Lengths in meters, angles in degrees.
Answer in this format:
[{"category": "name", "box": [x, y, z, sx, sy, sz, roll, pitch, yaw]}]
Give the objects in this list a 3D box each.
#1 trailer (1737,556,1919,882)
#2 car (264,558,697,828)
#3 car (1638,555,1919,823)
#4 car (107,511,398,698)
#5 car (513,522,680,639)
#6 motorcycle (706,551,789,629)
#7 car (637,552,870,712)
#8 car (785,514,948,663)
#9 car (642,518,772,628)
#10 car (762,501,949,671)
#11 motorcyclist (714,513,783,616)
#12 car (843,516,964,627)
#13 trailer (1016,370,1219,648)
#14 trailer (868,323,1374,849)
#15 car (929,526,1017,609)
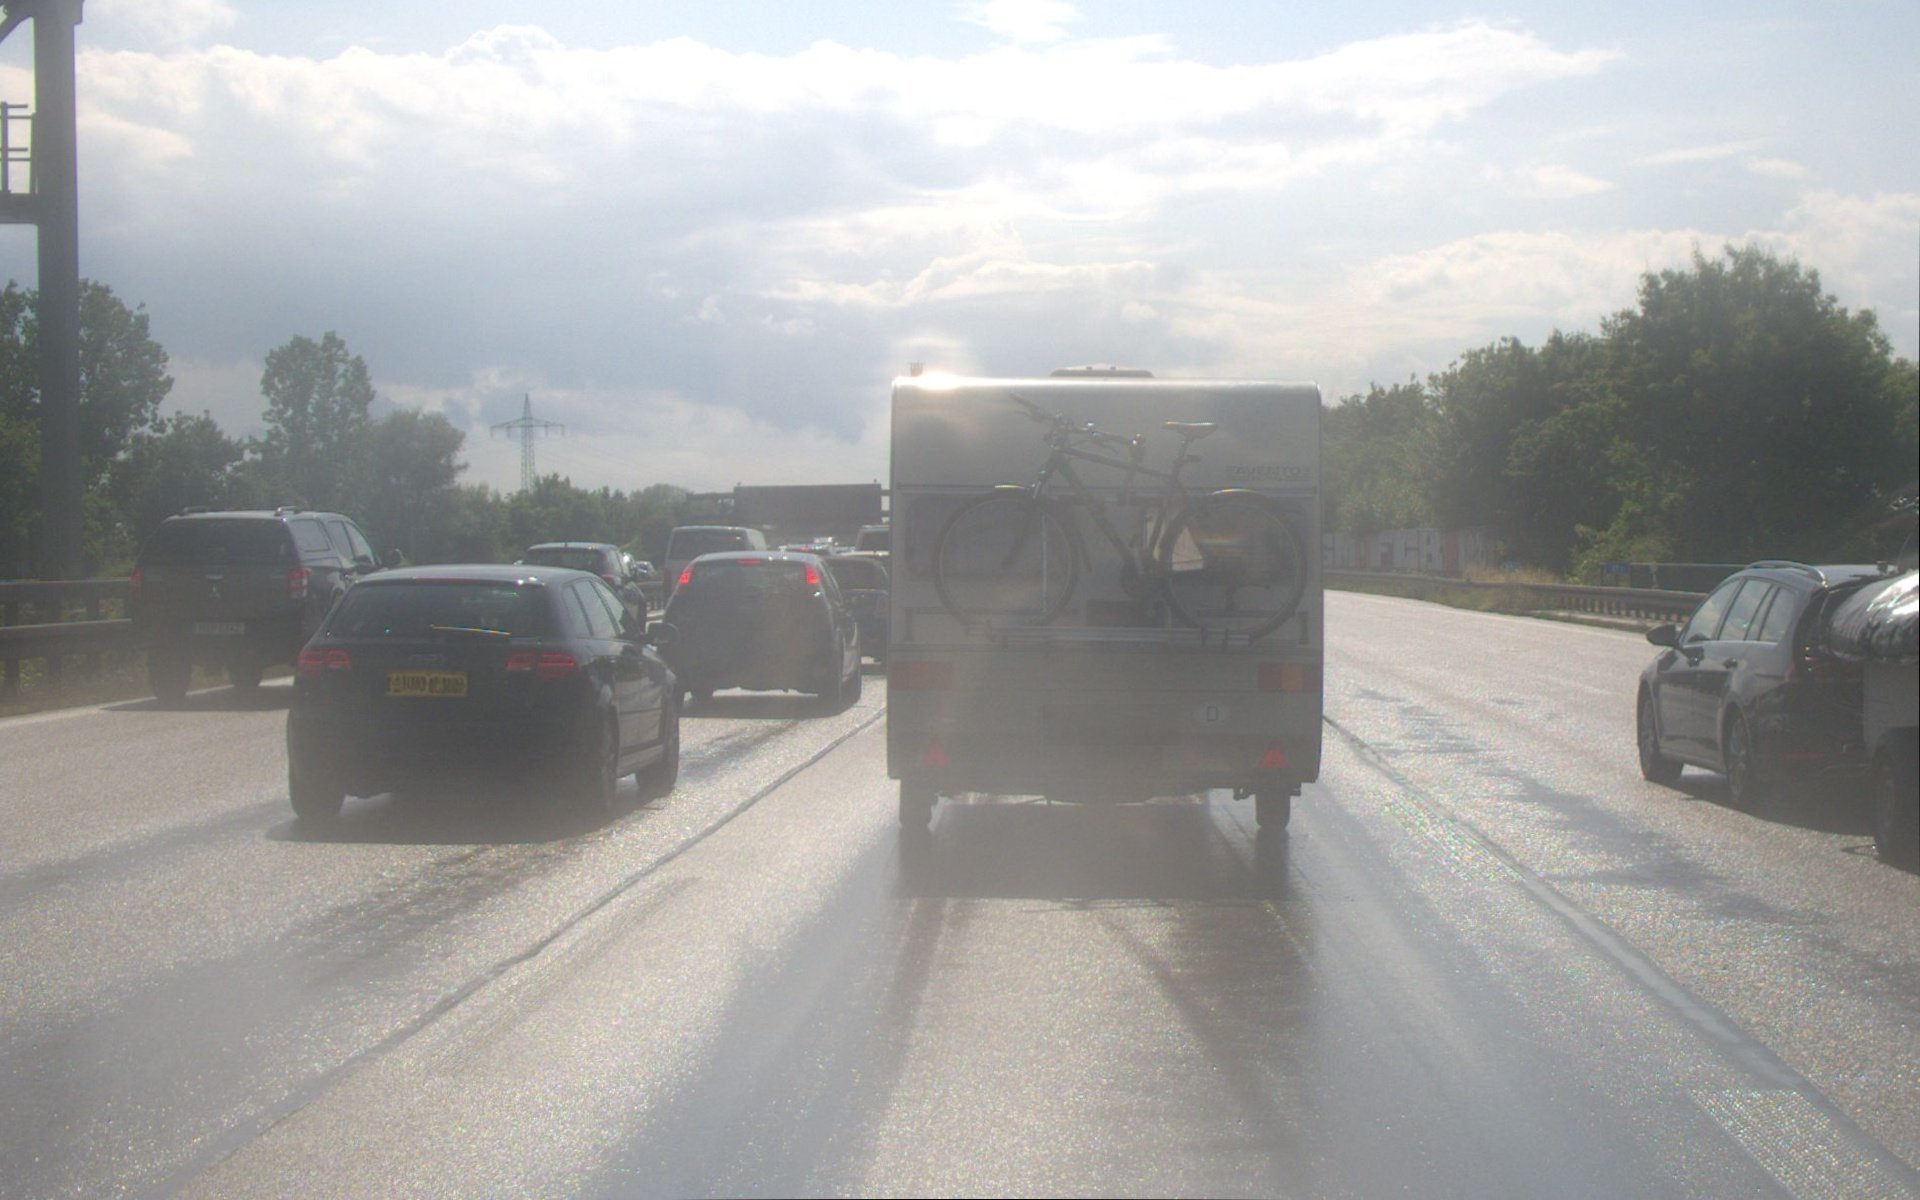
[{"category": "trailer", "box": [5.244, 0.505, 17.310, 1.855, 1.437, 4.147, 0, 1, 2]}, {"category": "car", "box": [-2.654, 0.458, 19.907, 1.757, 1.382, 3.945, 0, 1, 3]}, {"category": "car", "box": [5.371, 0.456, 20.746, 1.855, 1.437, 4.258, 0, 1, 2]}, {"category": "car", "box": [-6.950, 0.017, 34.166, 1.993, 1.714, 4.000, 1, 1, 1]}, {"category": "car", "box": [-5.646, -0.318, 53.847, 1.994, 1.766, 4.000, 0, 1, 3]}, {"category": "motorcycle", "box": [-3.550, -0.187, 57.681, 1.074, 1.267, 2.690, 0, 1, 3]}, {"category": "car", "box": [-1.910, 0.264, 32.893, 1.806, 1.402, 4.000, 1, 1, 2]}, {"category": "car", "box": [-1.350, -0.193, 51.220, 1.994, 2.007, 4.000, 4, 1, 3]}, {"category": "car", "box": [-5.016, -0.557, 68.682, 1.994, 2.007, 4.000, 4, 1, 3]}, {"category": "car", "box": [-1.265, -0.199, 43.351, 1.994, 2.007, 4.000, 1, 1, 3]}, {"category": "motorcyclist", "box": [-3.543, -0.600, 57.752, 1.064, 1.712, 0.785, 1, 0, 3]}, {"category": "car", "box": [-1.029, -0.555, 65.058, 1.994, 2.007, 4.000, 1, 1, 3]}, {"category": "trailer", "box": [2.687, -1.433, 56.051, 3.007, 4.152, 8.535, 1, 1, 4]}, {"category": "trailer", "box": [0.885, -0.106, 19.711, 2.374, 2.475, 6.523, 1, 1, 2]}, {"category": "car", "box": [0.345, -0.810, 84.810, 1.994, 2.007, 4.000, 0, 1, 3]}]
